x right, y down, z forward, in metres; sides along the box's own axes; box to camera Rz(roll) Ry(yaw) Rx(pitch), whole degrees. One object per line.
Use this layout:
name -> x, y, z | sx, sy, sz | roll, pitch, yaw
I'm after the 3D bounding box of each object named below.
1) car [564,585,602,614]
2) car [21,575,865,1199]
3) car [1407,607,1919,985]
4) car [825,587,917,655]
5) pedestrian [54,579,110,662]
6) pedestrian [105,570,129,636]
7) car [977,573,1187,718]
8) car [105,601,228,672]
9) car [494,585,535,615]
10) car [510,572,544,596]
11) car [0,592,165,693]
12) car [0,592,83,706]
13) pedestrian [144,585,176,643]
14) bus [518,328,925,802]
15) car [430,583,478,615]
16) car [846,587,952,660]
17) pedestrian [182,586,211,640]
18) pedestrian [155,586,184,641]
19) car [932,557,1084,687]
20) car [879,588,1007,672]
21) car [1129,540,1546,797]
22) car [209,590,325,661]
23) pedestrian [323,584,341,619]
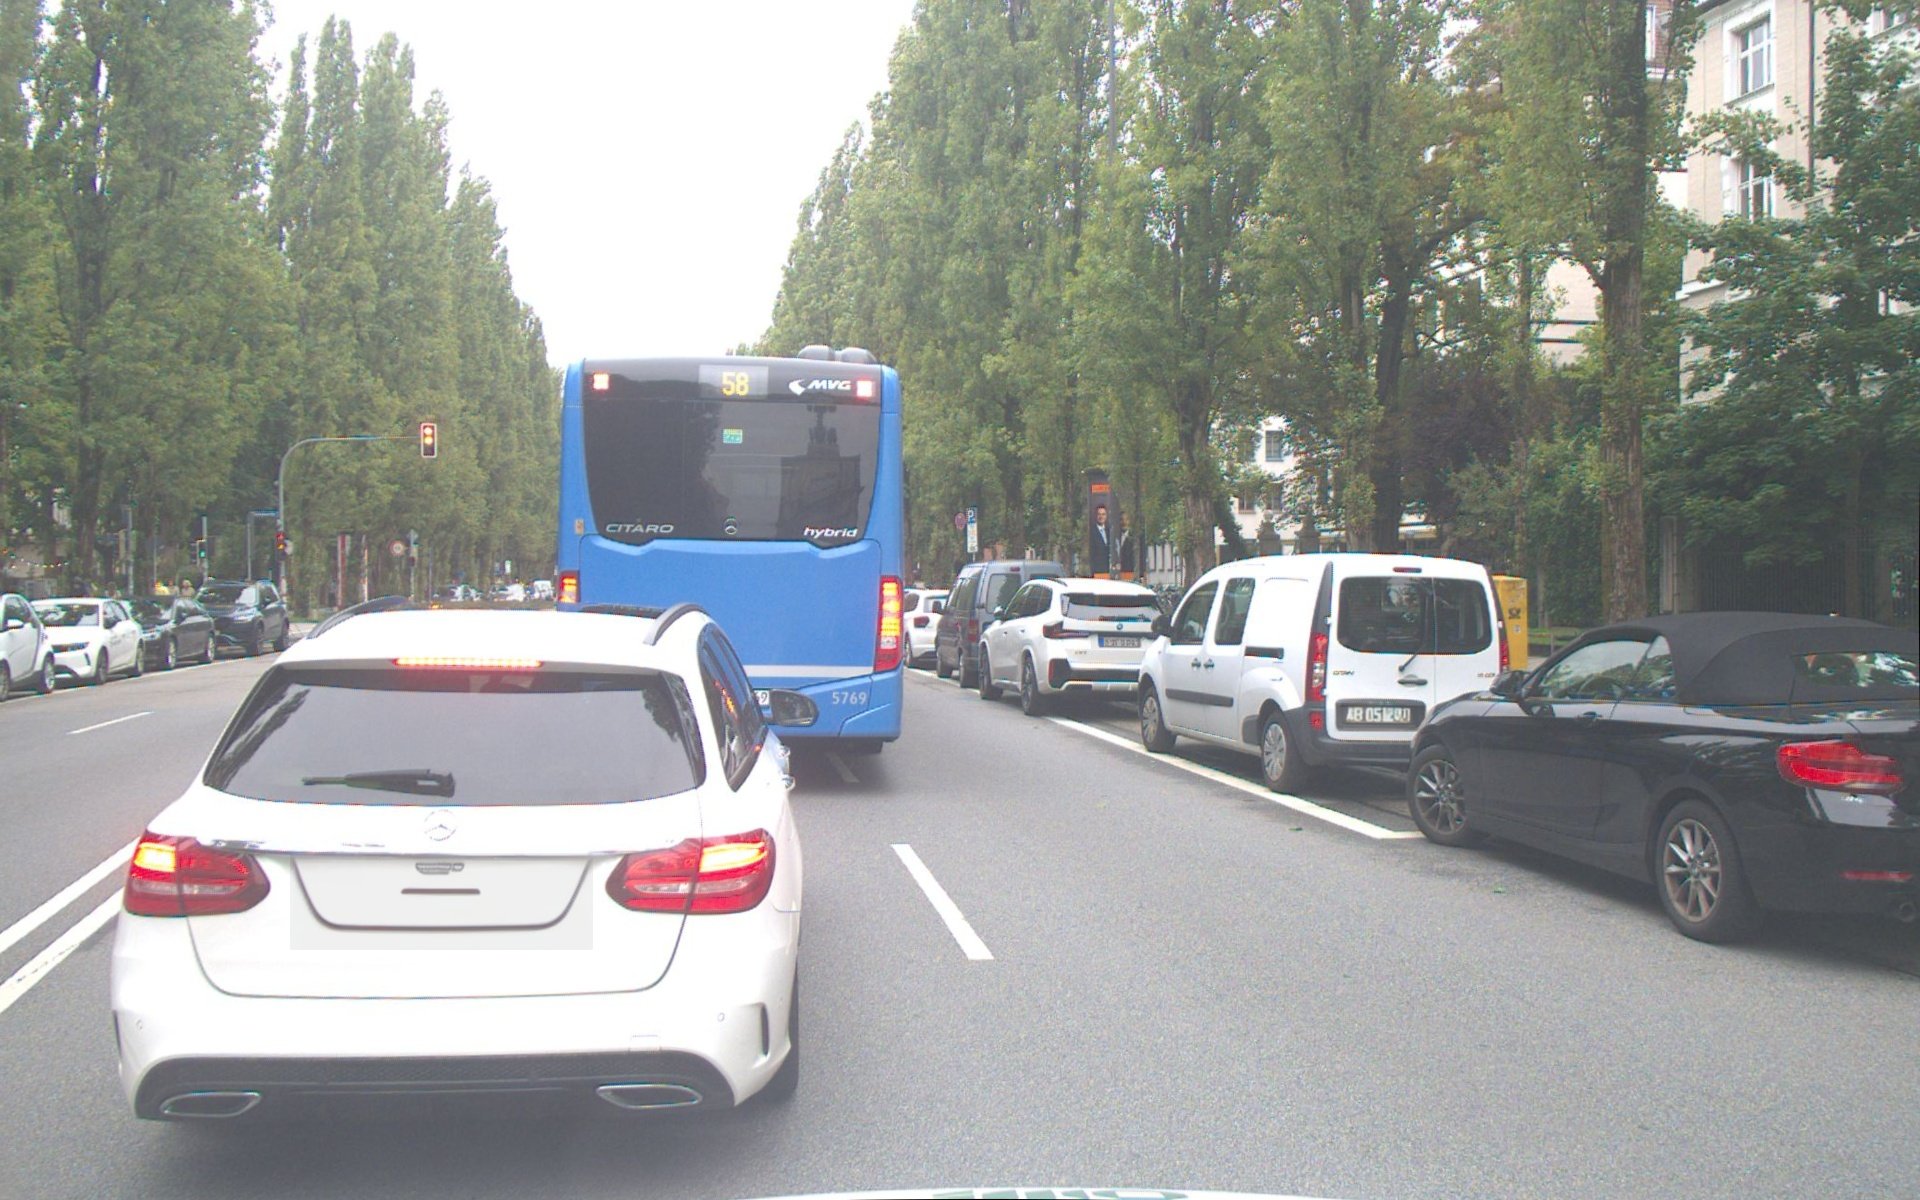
car -> -21.652, -0.039, 95.066 | 1.958, 1.647, 3.989 | 0, 0, -11
car -> -1.400, 0.680, 5.924 | 1.791, 1.480, 4.575 | 1, 0, -7
car -> 3.932, 0.754, 8.413 | 1.714, 1.378, 3.991 | 0, 1, -9
car -> -2.324, 0.491, 42.367 | 1.777, 1.646, 3.988 | 0, 1, -12
pedestrian -> -19.312, 0.442, 36.393 | 0.807, 1.795, 1.077 | -1, 0, -13
pedestrian -> -26.488, 0.101, 51.993 | 0.493, 2.049, 0.600 | -1, 0, -11
car -> 1.420, 0.502, 20.861 | 1.647, 1.624, 4.077 | 1, 0, -10
car -> -16.171, 0.706, 33.867 | 1.265, 1.296, 3.840 | -1, 1, -10
car -> -23.030, -0.012, 85.601 | 1.789, 1.512, 3.989 | 0, 1, -11
car -> -30.261, -1.091, 115.642 | 1.958, 1.620, 4.432 | -1, 1, -11
car -> -15.135, 0.674, 28.431 | 1.678, 1.575, 3.989 | -1, 1, -12
car -> -14.428, 0.691, 24.640 | 1.384, 1.579, 3.436 | -1, 1, -10
pedestrian -> -24.626, 0.417, 50.942 | 0.690, 1.766, 0.807 | -1, 0, -12
bus -> -1.965, -0.287, 16.024 | 2.799, 3.269, 9.052 | 0, 1, -4
car -> -24.363, -0.065, 79.740 | 1.789, 1.512, 3.989 | 0, 1, -11
car -> -1.427, 0.476, 37.295 | 1.754, 1.518, 3.989 | 0, 1, -12
pedestrian -> -28.920, 0.489, 62.647 | 0.816, 2.049, 0.775 | -1, 0, -13
pedestrian -> -29.737, 0.490, 62.224 | 0.816, 2.049, 0.775 | -1, 0, -13
car -> 0.673, 0.304, 26.052 | 1.672, 1.868, 3.992 | 1, 0, -9
car -> -0.400, 0.535, 32.270 | 1.767, 1.501, 3.989 | 0, 1, -12
car -> 2.940, 0.488, 13.899 | 1.801, 1.804, 4.218 | 2, 0, -12
car -> -16.496, 0.566, 39.549 | 1.676, 1.579, 3.991 | -1, 1, -10
pedestrian -> -36.428, 0.073, 95.943 | 0.816, 2.049, 0.775 | -1, 0, -14
